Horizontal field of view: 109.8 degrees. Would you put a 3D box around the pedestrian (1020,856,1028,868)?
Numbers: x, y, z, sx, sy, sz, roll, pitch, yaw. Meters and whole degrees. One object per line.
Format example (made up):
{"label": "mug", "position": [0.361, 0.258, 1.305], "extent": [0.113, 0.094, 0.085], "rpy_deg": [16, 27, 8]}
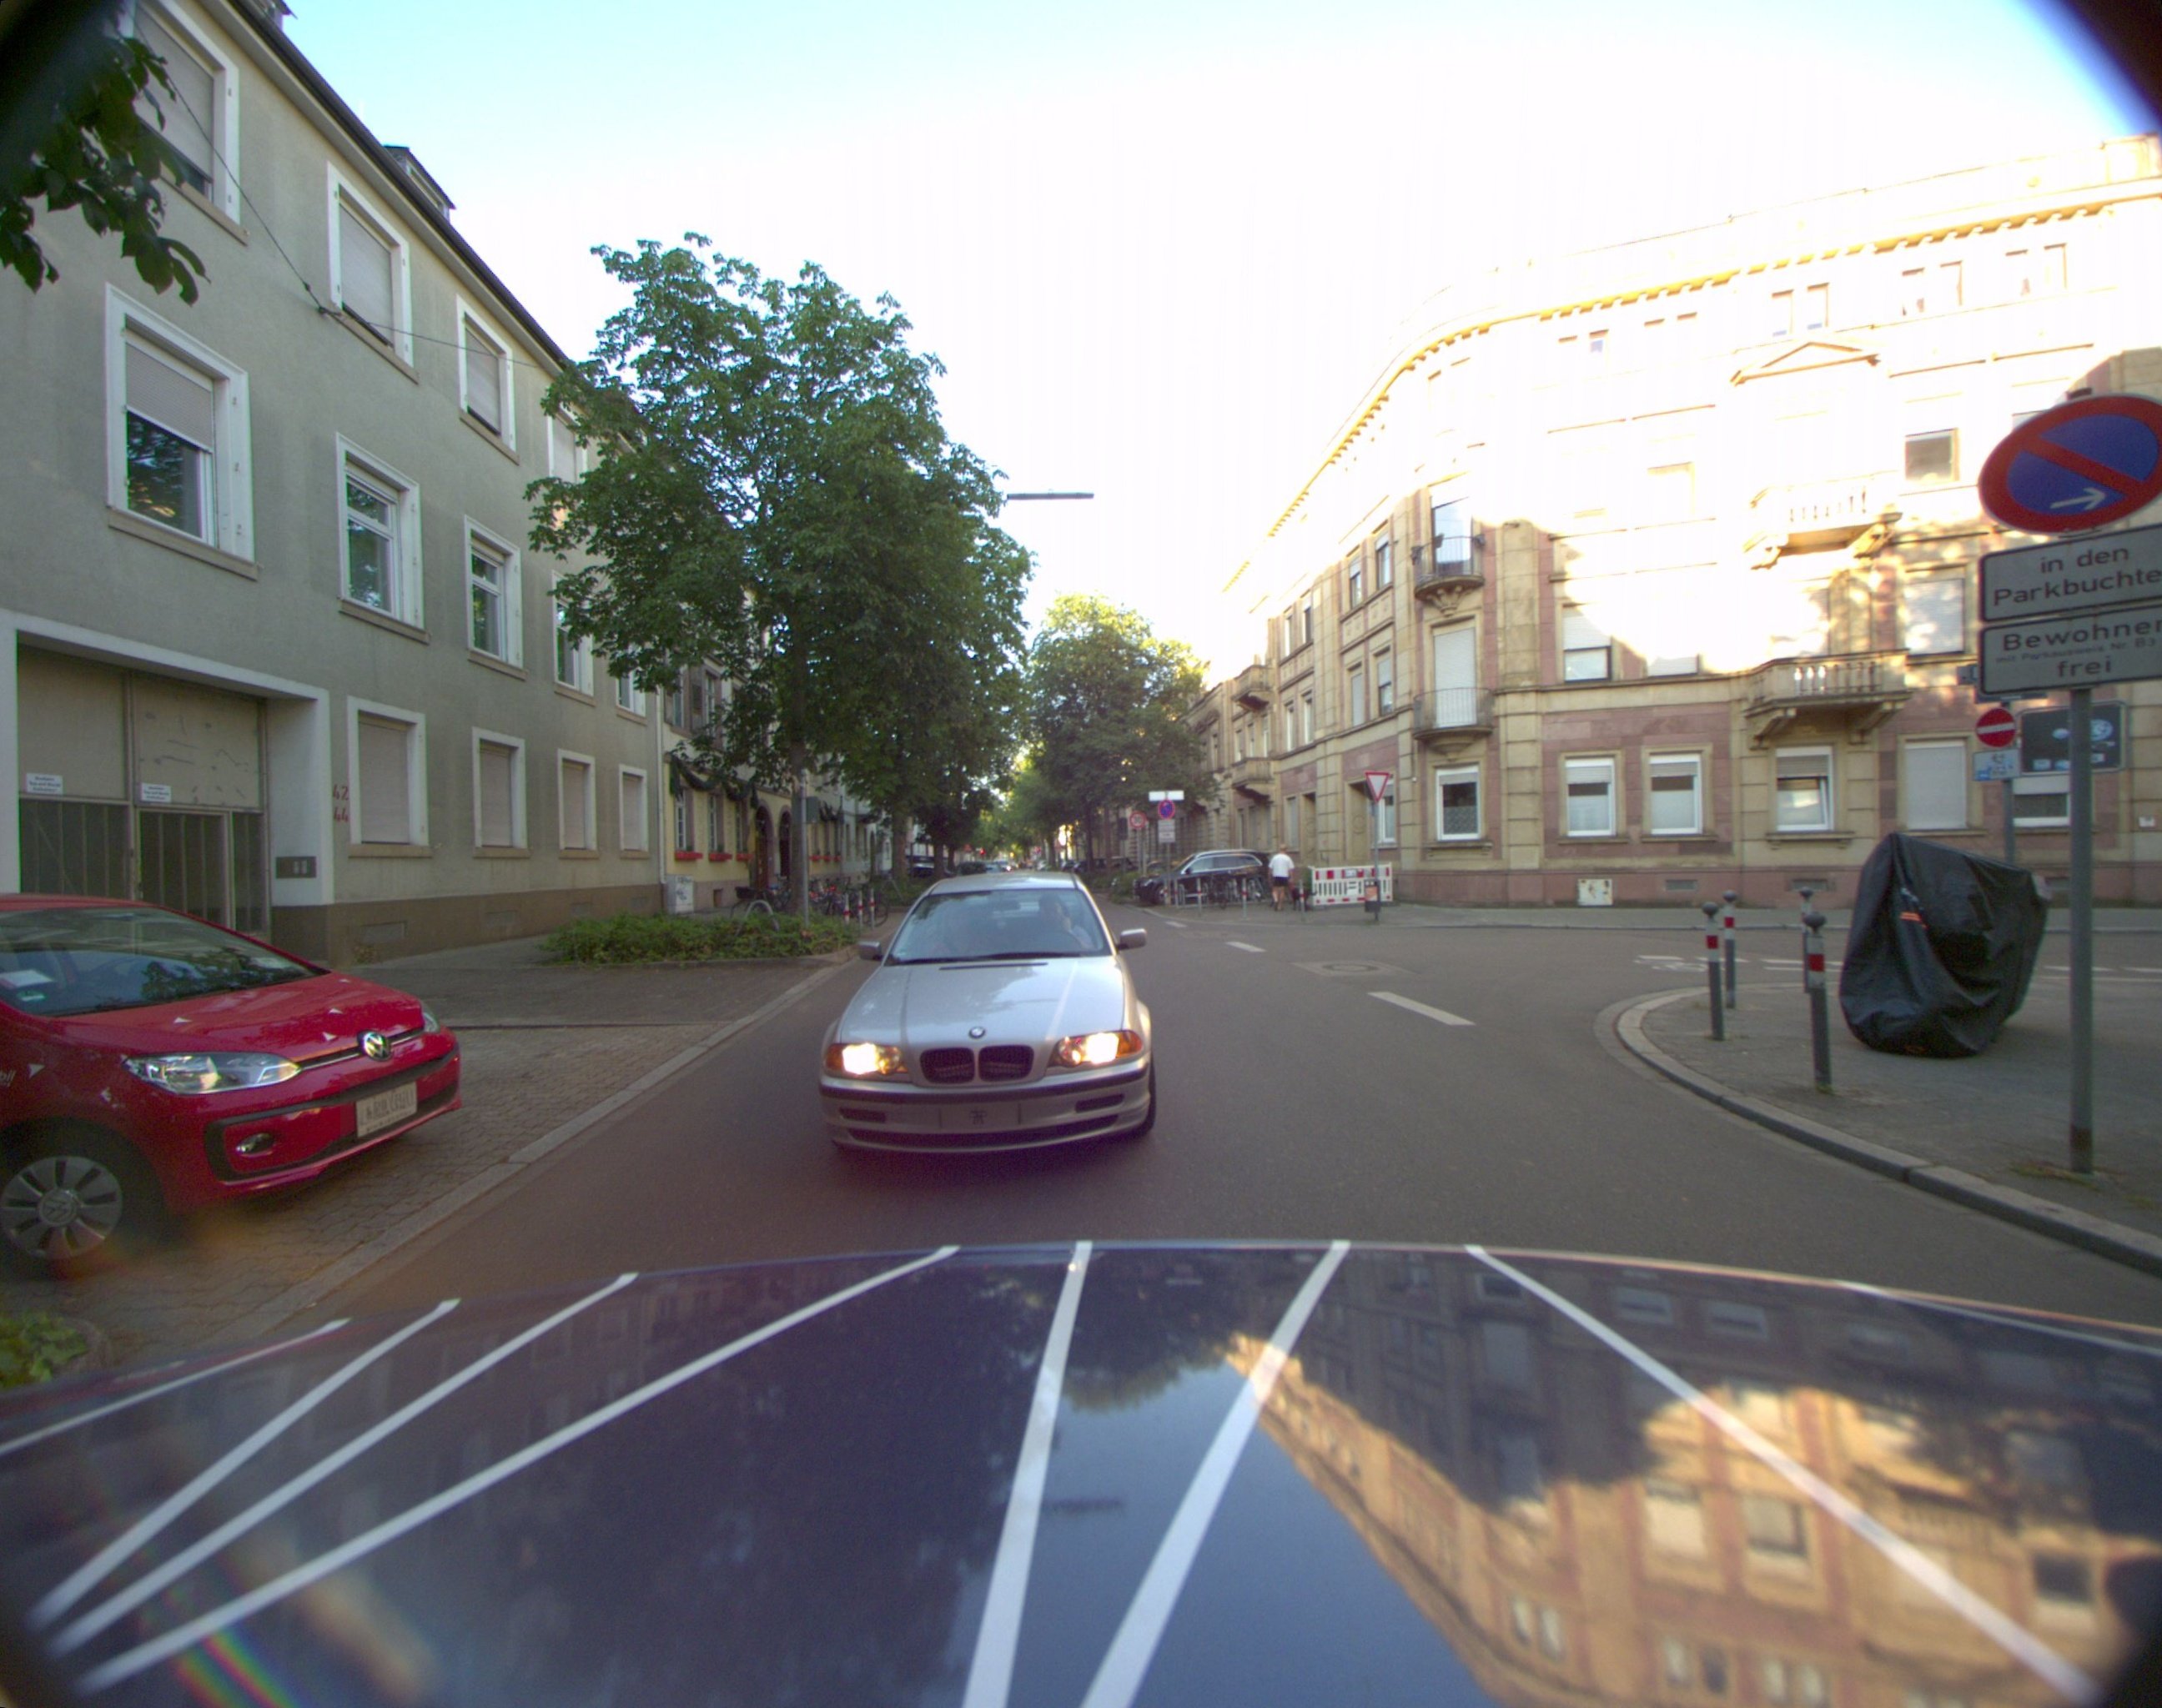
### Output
{"label": "pedestrian", "position": [-9.786, 1.328, 129.983], "extent": [1.185, 2.002, 1.020], "rpy_deg": [-1, 1, -9]}

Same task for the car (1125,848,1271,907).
{"label": "car", "position": [3.721, 0.724, 24.657], "extent": [4.423, 1.771, 1.741], "rpy_deg": [-1, 0, -2]}

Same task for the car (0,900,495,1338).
{"label": "car", "position": [-5.167, 1.037, 3.425], "extent": [3.621, 1.468, 1.663], "rpy_deg": [-1, 0, -7]}

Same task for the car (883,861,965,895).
{"label": "car", "position": [-8.561, 1.273, 41.670], "extent": [4.245, 1.729, 1.741], "rpy_deg": [-1, 0, -6]}

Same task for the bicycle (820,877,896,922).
{"label": "bicycle", "position": [-6.372, 1.282, 21.790], "extent": [2.029, 1.220, 0.535], "rpy_deg": [-1, 0, -11]}

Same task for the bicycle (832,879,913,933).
{"label": "bicycle", "position": [-5.040, 1.253, 18.399], "extent": [1.849, 1.220, 0.535], "rpy_deg": [-1, 0, -16]}

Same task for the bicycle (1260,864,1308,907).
{"label": "bicycle", "position": [5.791, 0.881, 21.822], "extent": [0.562, 1.144, 2.038], "rpy_deg": [-1, 0, -8]}

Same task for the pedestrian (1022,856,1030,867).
{"label": "pedestrian", "position": [-9.601, 1.290, 132.910], "extent": [1.254, 2.002, 1.123], "rpy_deg": [-1, 1, -9]}

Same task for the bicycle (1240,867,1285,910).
{"label": "bicycle", "position": [5.172, 0.960, 21.772], "extent": [0.562, 1.144, 2.038], "rpy_deg": [-1, 0, -8]}

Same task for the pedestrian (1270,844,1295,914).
{"label": "pedestrian", "position": [5.243, 0.639, 19.810], "extent": [0.572, 1.797, 0.652], "rpy_deg": [-1, 1, 12]}

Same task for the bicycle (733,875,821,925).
{"label": "bicycle", "position": [-7.818, 1.177, 19.598], "extent": [2.029, 1.220, 0.535], "rpy_deg": [-1, 0, -13]}

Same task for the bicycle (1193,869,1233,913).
{"label": "bicycle", "position": [3.740, 1.026, 21.662], "extent": [0.562, 1.144, 2.038], "rpy_deg": [-1, 0, -6]}

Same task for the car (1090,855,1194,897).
{"label": "car", "position": [2.525, 0.905, 32.089], "extent": [4.243, 1.668, 1.742], "rpy_deg": [-1, 0, -1]}

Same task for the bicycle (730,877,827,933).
{"label": "bicycle", "position": [-7.037, 1.167, 17.749], "extent": [2.030, 1.220, 0.535], "rpy_deg": [-1, 0, -16]}

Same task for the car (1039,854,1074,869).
{"label": "car", "position": [-3.012, 0.865, 92.537], "extent": [4.245, 1.749, 1.741], "rpy_deg": [-1, 0, -5]}

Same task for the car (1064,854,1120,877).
{"label": "car", "position": [0.855, 0.872, 60.852], "extent": [4.245, 1.749, 1.741], "rpy_deg": [-1, 0, -5]}

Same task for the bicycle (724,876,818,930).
{"label": "bicycle", "position": [-7.497, 1.177, 18.452], "extent": [2.030, 1.220, 0.535], "rpy_deg": [-1, 0, -16]}

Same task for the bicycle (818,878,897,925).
{"label": "bicycle", "position": [-6.131, 1.282, 20.920], "extent": [2.029, 1.220, 0.535], "rpy_deg": [-1, 0, -11]}

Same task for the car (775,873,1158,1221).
{"label": "car", "position": [-0.490, 0.938, 5.674], "extent": [1.711, 1.433, 4.436], "rpy_deg": [-1, 0, 1]}

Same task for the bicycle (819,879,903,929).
{"label": "bicycle", "position": [-5.664, 1.279, 19.639], "extent": [2.029, 1.220, 0.535], "rpy_deg": [-1, 0, -11]}

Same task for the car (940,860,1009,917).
{"label": "car", "position": [-3.204, 0.989, 23.598], "extent": [1.806, 1.543, 3.998], "rpy_deg": [-1, 0, -4]}

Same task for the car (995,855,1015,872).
{"label": "car", "position": [-7.657, 0.940, 76.676], "extent": [1.806, 1.543, 3.998], "rpy_deg": [-1, 0, -4]}

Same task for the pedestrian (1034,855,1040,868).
{"label": "pedestrian", "position": [-6.325, 1.109, 108.042], "extent": [0.712, 1.843, 0.676], "rpy_deg": [-1, 1, -13]}

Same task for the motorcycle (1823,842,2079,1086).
{"label": "motorcycle", "position": [6.495, 0.677, 5.639], "extent": [2.286, 1.496, 0.816], "rpy_deg": [-1, 1, -30]}

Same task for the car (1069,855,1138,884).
{"label": "car", "position": [1.403, 0.961, 48.382], "extent": [4.245, 1.749, 1.741], "rpy_deg": [-1, 0, -5]}

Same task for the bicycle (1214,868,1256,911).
{"label": "bicycle", "position": [4.379, 0.982, 21.730], "extent": [0.562, 1.144, 2.038], "rpy_deg": [-1, 0, -6]}
